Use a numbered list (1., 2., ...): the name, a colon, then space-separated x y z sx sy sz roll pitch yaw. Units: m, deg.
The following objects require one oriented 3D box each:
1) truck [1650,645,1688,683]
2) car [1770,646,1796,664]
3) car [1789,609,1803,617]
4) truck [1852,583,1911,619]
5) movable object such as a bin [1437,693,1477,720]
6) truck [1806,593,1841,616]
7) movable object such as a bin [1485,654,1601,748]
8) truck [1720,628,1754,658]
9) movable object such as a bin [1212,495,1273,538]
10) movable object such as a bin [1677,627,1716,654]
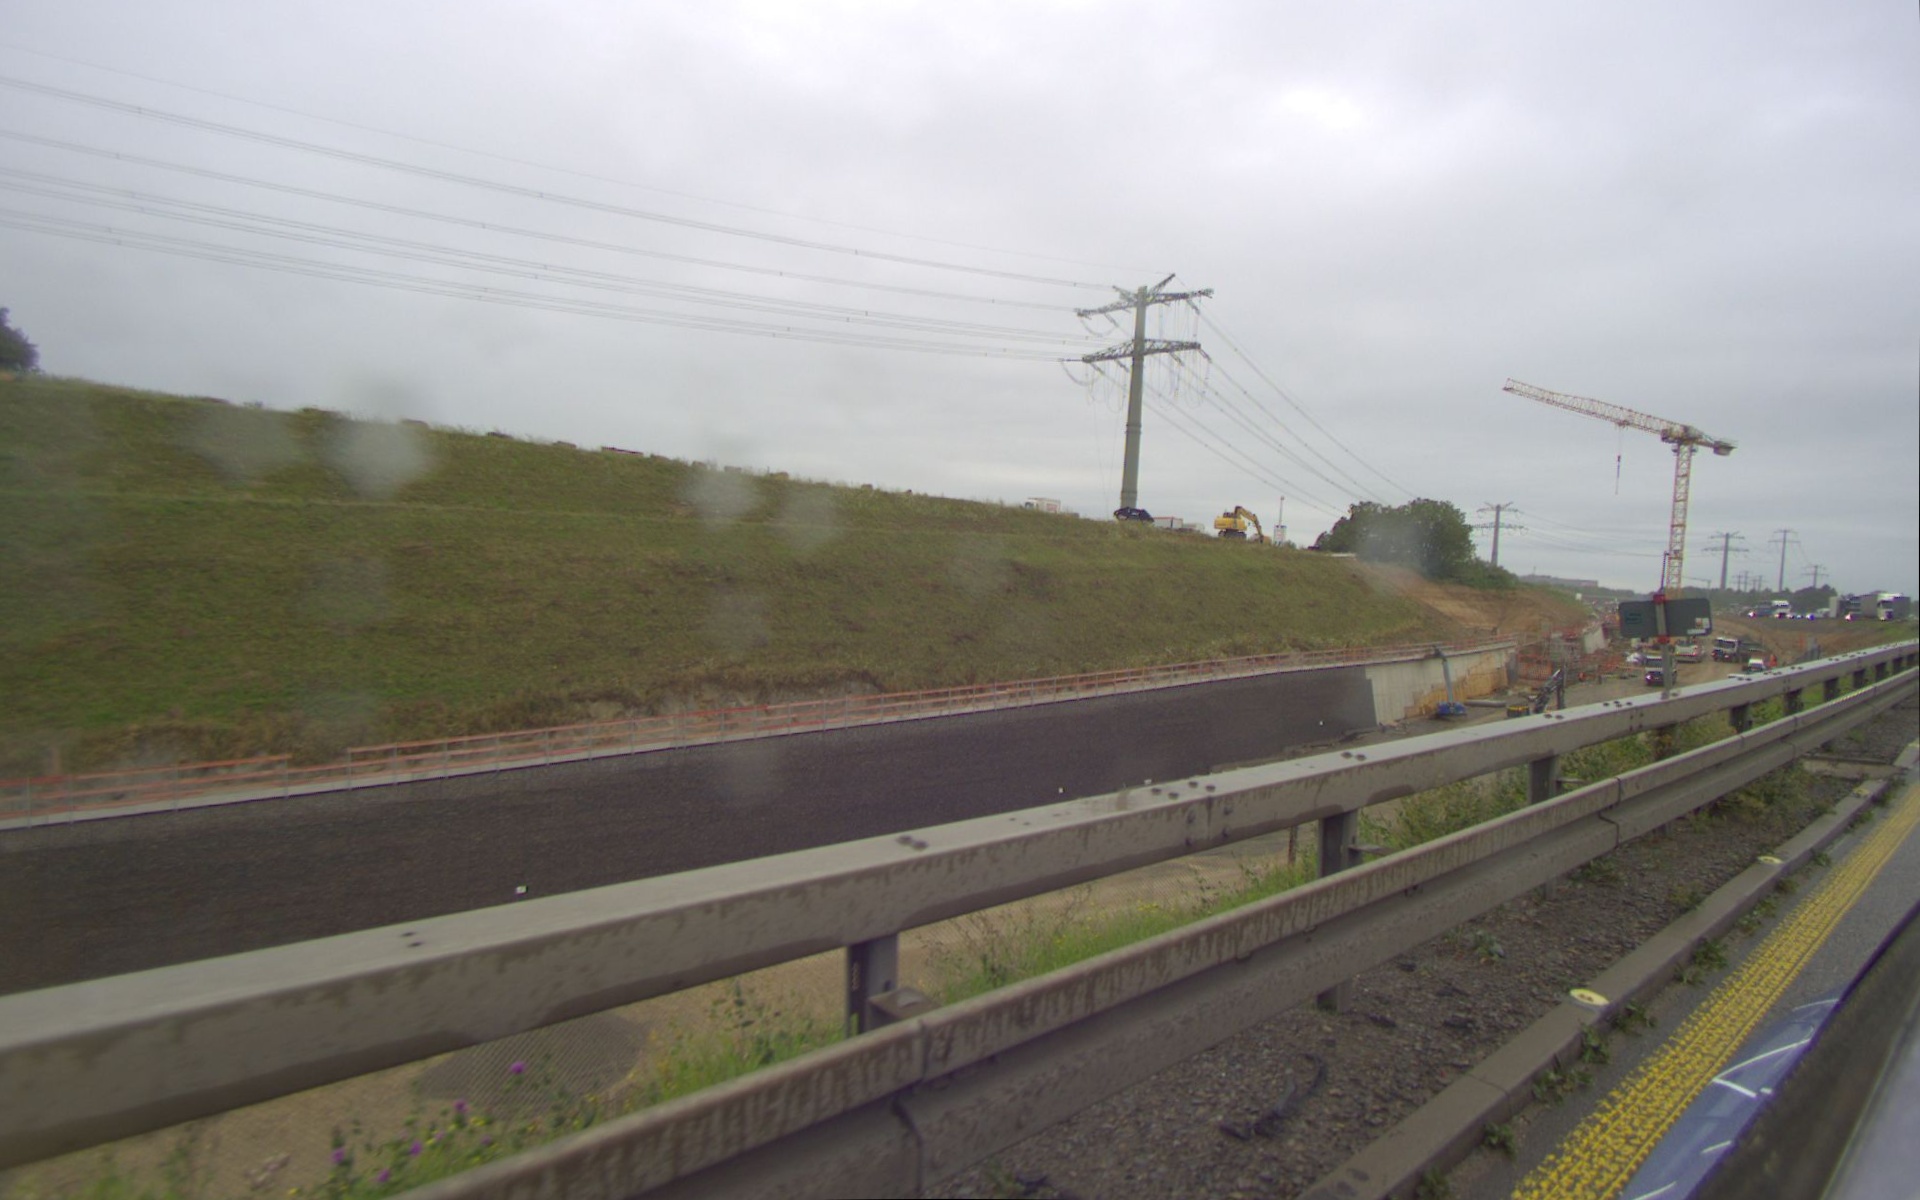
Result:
1. truck: 83.595 7.429 119.222 2.701 3.656 8.940 3 3 41
2. car: 114.203 7.637 140.402 3.935 2.041 1.993 1 -13 -45
3. car: 159.572 2.508 193.190 1.780 1.445 3.946 0 0 37
4. truck: 117.751 0.124 129.526 4.296 4.400 13.227 -1 0 37
5. movable object such as a bin: 43.847 9.380 89.253 2.511 1.935 3.211 -2 -1 39
6. truck: 148.719 0.809 174.297 3.523 3.943 8.235 0 0 33
7. movable object such as a bin: 45.502 7.583 78.738 4.894 5.740 11.901 -2 1 44
8. truck: 112.665 6.148 146.699 3.350 3.583 8.778 1 3 41
9. movable object such as a bin: 32.250 -9.455 115.377 8.044 4.259 3.101 1 1 -45
10. movable object such as a bin: 105.244 5.725 144.580 6.543 3.467 3.512 -1 1 -44
